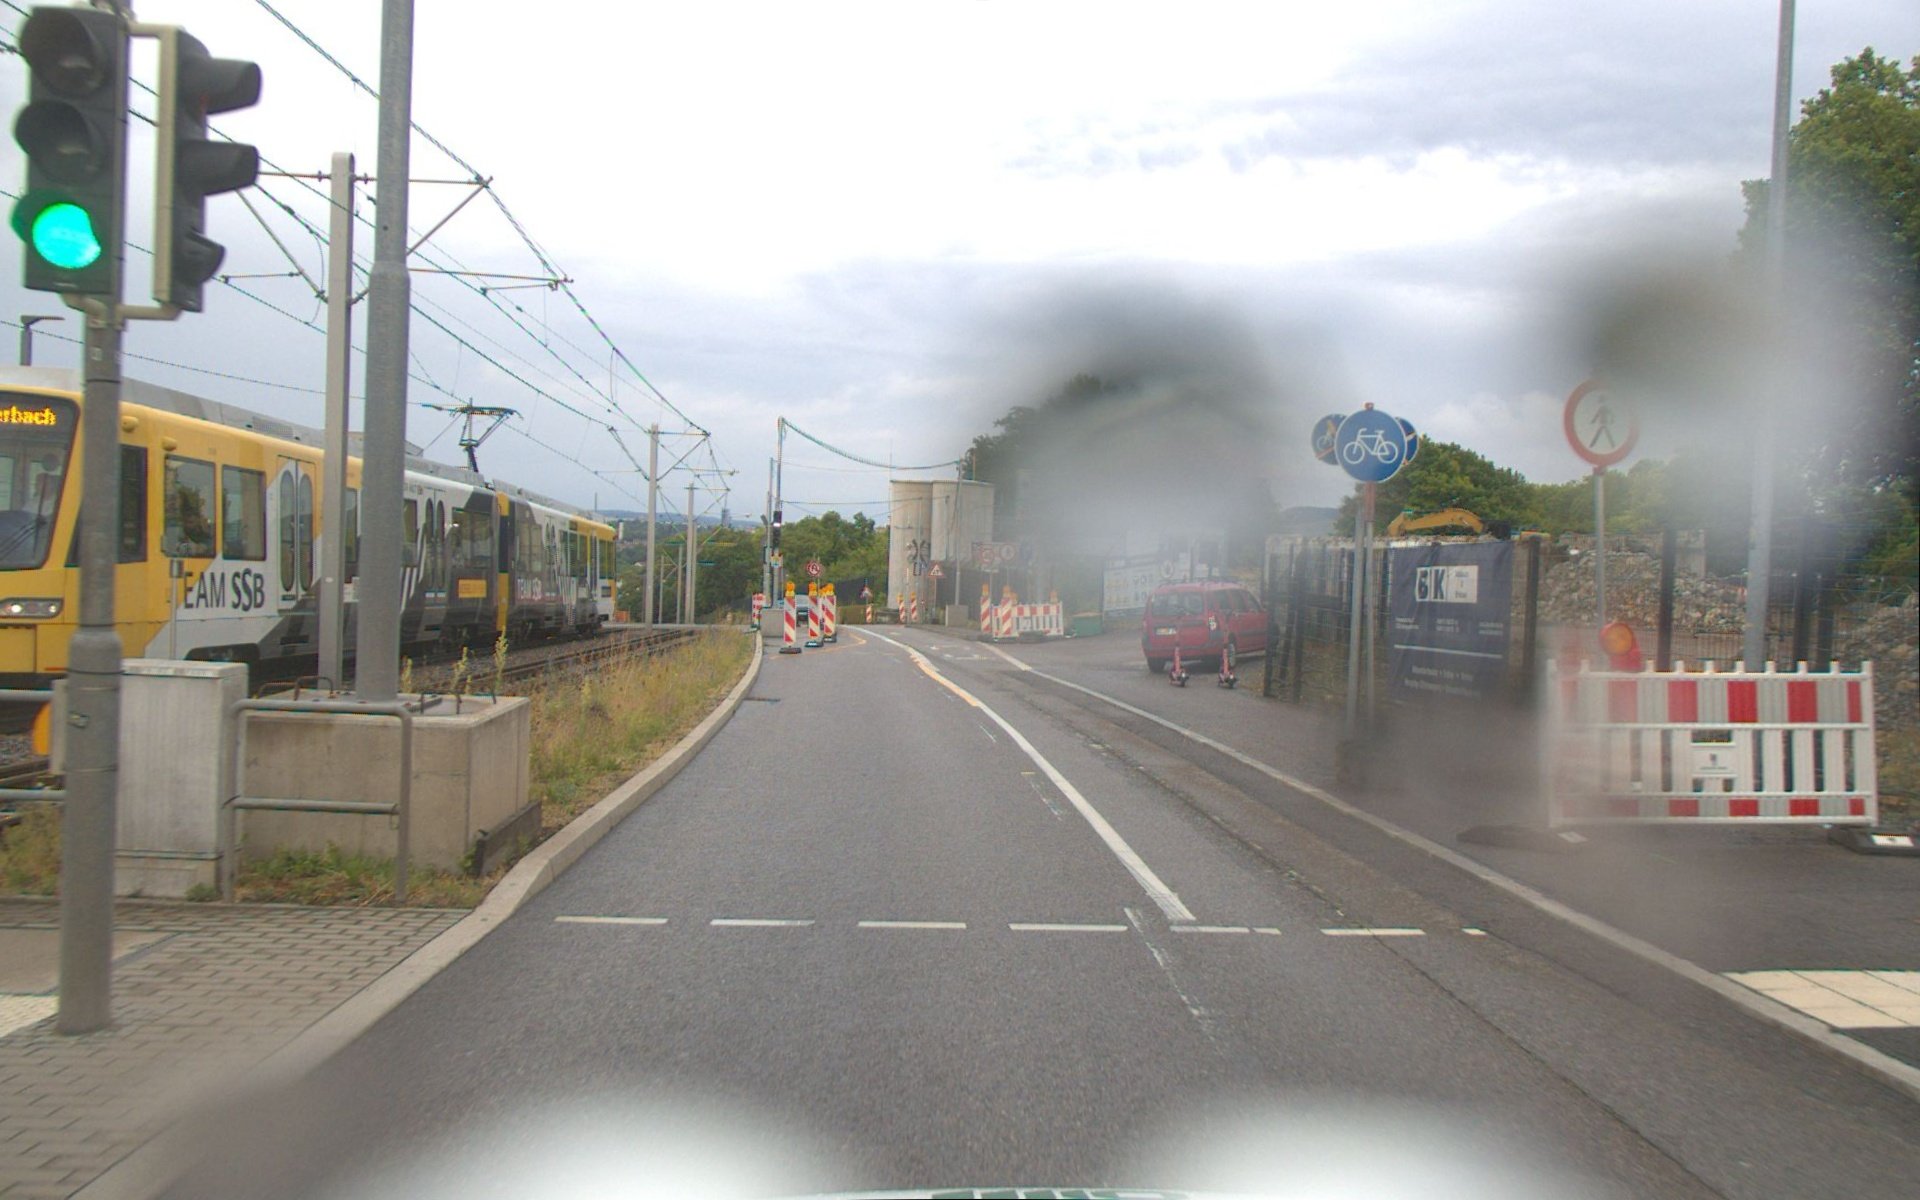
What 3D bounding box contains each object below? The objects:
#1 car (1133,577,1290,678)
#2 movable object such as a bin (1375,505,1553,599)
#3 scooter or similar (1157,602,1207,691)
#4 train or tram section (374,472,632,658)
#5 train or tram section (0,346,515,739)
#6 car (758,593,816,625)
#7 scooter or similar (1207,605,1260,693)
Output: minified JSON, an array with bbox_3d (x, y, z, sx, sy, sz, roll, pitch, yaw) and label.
[{"bbox_3d":[5.070,0.516,32.824,1.784,1.825,4.404,1,0,27],"label":"car"},{"bbox_3d":[33.982,-3.201,111.834,10.995,6.100,3.493,1,-1,4],"label":"movable object such as a bin"},{"bbox_3d":[3.632,0.736,27.150,0.602,1.375,1.913,1,0,2],"label":"scooter or similar"},{"bbox_3d":[-11.923,-0.804,45.932,2.897,3.953,19.276,2,0,-4],"label":"train or tram section"},{"bbox_3d":[-10.844,-0.658,26.525,2.896,3.953,19.561,2,0,-3],"label":"train or tram section"},{"bbox_3d":[-9.758,0.517,93.134,1.967,1.707,4.454,1,-1,-24],"label":"car"},{"bbox_3d":[4.470,0.776,27.122,0.602,1.375,1.913,1,0,2],"label":"scooter or similar"}]
